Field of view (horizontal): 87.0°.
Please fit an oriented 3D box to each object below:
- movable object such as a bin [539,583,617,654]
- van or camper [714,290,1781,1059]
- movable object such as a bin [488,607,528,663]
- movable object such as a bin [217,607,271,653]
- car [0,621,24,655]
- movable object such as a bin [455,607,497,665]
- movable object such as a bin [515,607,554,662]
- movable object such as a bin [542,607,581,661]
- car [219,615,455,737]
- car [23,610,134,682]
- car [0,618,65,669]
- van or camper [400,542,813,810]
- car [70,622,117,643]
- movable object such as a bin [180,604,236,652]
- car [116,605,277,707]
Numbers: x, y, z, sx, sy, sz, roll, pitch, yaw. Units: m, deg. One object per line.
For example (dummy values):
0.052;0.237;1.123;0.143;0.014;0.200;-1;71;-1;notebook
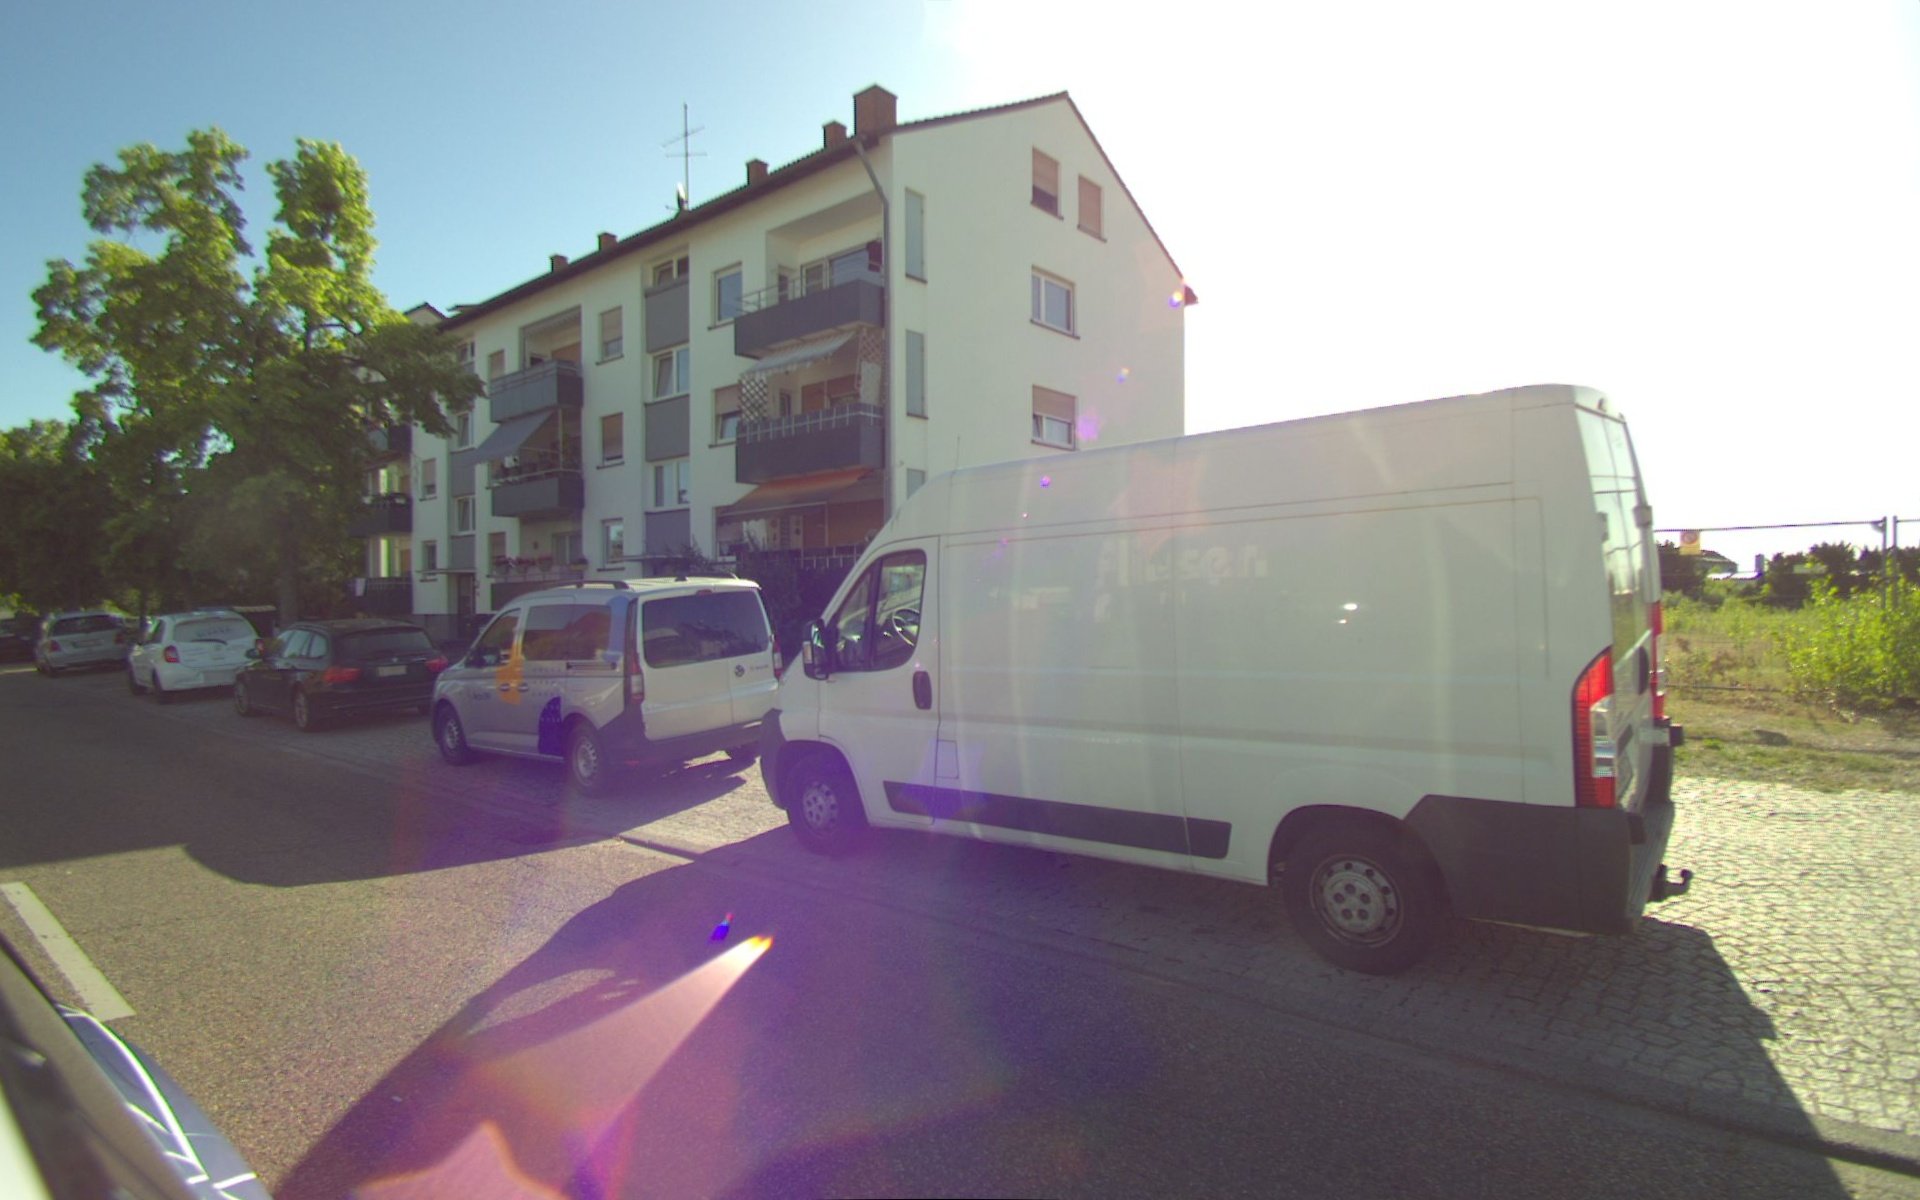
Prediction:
-8.284;0.397;21.967;1.116;1.494;1.218;-2;-1;43;movable object such as a bin
1.170;0.236;5.901;5.551;2.508;2.102;-1;3;40;van or camper
-10.571;0.815;23.661;0.671;1.288;0.631;-2;-1;43;movable object such as a bin
-24.941;1.029;35.262;1.327;1.555;1.276;-1;-1;42;movable object such as a bin
-45.206;1.793;47.471;1.637;1.505;3.914;-4;2;-40;car
-11.092;0.819;23.203;0.671;1.288;0.679;-2;-1;43;movable object such as a bin
-10.137;0.809;24.129;0.671;1.288;0.631;-2;-1;43;movable object such as a bin
-9.701;0.816;24.633;0.671;1.288;0.631;-2;-1;43;movable object such as a bin
-9.005;0.981;14.477;4.310;1.446;1.593;-1;1;40;car
-23.440;1.160;26.882;3.908;1.604;1.704;-1;5;43;car
-32.356;1.461;34.677;4.539;1.504;1.706;-1;4;39;car
-3.595;0.581;9.903;4.277;2.028;1.859;-1;3;41;van or camper
-64.666;2.429;75.600;1.624;1.551;3.716;0;-1;-24;car
-27.059;1.009;36.403;1.267;1.675;1.398;-1;-1;42;movable object such as a bin
-14.142;0.958;18.675;3.907;1.577;1.674;-1;2;43;car
